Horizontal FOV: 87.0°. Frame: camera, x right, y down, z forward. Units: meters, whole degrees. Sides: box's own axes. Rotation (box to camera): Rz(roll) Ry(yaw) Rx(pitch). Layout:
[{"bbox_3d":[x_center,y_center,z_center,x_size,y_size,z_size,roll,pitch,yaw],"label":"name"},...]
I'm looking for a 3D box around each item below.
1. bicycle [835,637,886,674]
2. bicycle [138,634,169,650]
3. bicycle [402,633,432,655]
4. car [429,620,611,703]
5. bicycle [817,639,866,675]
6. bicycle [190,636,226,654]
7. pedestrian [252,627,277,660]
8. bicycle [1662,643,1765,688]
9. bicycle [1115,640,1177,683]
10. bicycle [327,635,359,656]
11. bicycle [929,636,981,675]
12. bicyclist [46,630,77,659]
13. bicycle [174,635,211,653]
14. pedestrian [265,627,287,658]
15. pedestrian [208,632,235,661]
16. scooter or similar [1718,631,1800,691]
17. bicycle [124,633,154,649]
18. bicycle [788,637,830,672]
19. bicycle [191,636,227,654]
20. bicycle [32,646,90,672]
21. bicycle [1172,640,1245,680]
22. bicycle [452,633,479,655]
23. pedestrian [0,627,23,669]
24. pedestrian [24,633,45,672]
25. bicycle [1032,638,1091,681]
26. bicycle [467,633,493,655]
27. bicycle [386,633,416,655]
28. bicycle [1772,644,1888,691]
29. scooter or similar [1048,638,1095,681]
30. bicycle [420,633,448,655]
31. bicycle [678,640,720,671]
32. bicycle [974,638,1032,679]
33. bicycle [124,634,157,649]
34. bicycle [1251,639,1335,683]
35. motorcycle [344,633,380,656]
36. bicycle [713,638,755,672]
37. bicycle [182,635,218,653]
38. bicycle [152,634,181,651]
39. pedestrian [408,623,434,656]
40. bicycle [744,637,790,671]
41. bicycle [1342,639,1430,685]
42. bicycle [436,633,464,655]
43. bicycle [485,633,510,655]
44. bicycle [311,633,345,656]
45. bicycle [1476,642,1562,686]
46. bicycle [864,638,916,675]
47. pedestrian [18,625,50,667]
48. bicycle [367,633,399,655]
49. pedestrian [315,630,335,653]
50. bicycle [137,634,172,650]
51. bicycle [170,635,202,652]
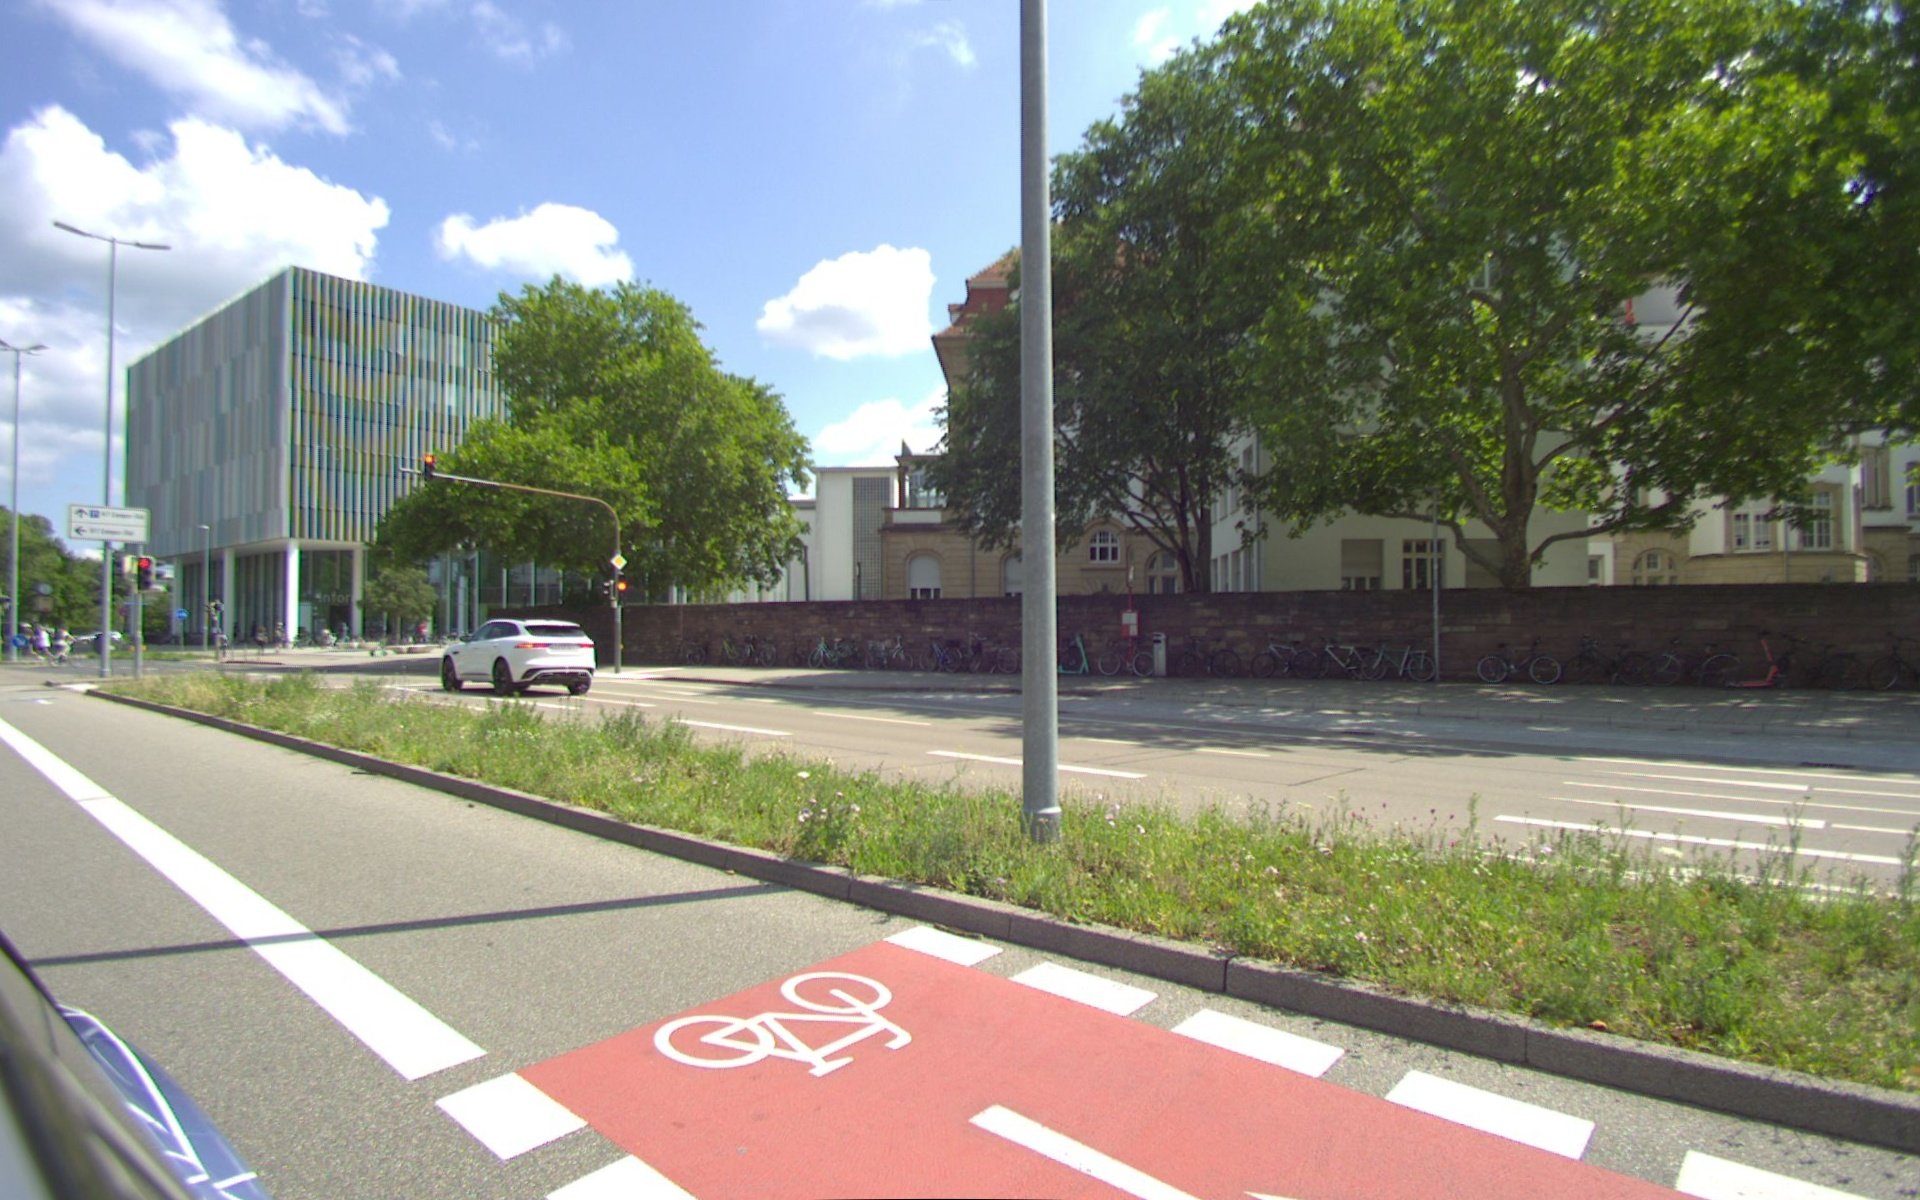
[{"bbox_3d":[-3.158,1.773,32.202,1.576,1.161,0.401,-1,-2,9],"label":"bicycle"},{"bbox_3d":[-78.150,4.046,98.062,0.621,1.506,2.299,-2,-2,41],"label":"bicycle"},{"bbox_3d":[-40.115,3.235,74.818,0.983,1.564,3.423,0,-2,-12],"label":"bicycle"},{"bbox_3d":[-10.071,1.332,22.976,4.775,1.680,2.048,-2,-3,43],"label":"car"},{"bbox_3d":[-3.849,1.845,32.877,1.581,1.161,0.400,-1,-2,19],"label":"bicycle"},{"bbox_3d":[-64.404,3.841,86.662,0.621,1.506,2.419,-2,-2,41],"label":"bicycle"},{"bbox_3d":[-41.789,2.613,60.807,0.956,1.940,0.881,0,-2,-11],"label":"pedestrian"},{"bbox_3d":[15.824,1.362,21.302,1.658,0.909,0.540,-1,-2,30],"label":"bicycle"},{"bbox_3d":[5.017,1.651,27.330,1.587,1.151,0.429,-1,-2,30],"label":"bicycle"},{"bbox_3d":[-45.413,3.344,74.521,0.919,1.505,2.690,0,-1,-4],"label":"bicycle"},{"bbox_3d":[-0.163,1.658,30.489,1.588,1.161,0.398,-2,-2,30],"label":"bicycle"},{"bbox_3d":[-37.759,1.862,42.529,0.609,1.235,0.835,0,-2,-6],"label":"bicyclist"},{"bbox_3d":[-67.370,3.879,88.865,0.621,1.506,2.478,-2,-2,41],"label":"bicycle"},{"bbox_3d":[-42.761,2.661,63.242,0.955,1.940,0.882,0,-2,-22],"label":"pedestrian"},{"bbox_3d":[-42.812,2.695,58.658,0.875,1.641,0.962,-1,-2,29],"label":"pedestrian"},{"bbox_3d":[16.098,1.225,20.402,1.184,1.192,0.430,-1,-2,21],"label":"scooter or similar"},{"bbox_3d":[-81.828,4.096,100.855,0.656,1.506,2.272,-2,-2,41],"label":"bicycle"},{"bbox_3d":[-5.080,1.829,33.953,1.591,1.161,0.408,-2,-2,36],"label":"bicycle"},{"bbox_3d":[-64.976,3.857,87.539,2.473,1.506,0.731,1,-2,-39],"label":"bicycle"},{"bbox_3d":[-37.767,2.474,42.538,0.637,1.006,2.165,0,-2,-4],"label":"bicycle"},{"bbox_3d":[6.489,1.559,26.435,1.796,1.016,0.476,-2,-2,33],"label":"bicycle"},{"bbox_3d":[-36.456,3.248,74.671,0.983,1.564,3.423,0,-2,-12],"label":"bicycle"},{"bbox_3d":[-44.851,2.238,47.617,1.093,1.940,0.973,1,-2,-44],"label":"pedestrian"},{"bbox_3d":[-44.027,2.487,48.148,0.689,1.840,0.637,-2,-3,41],"label":"pedestrian"},{"bbox_3d":[2.858,1.663,28.464,1.582,1.161,0.530,-1,-2,20],"label":"bicycle"},{"bbox_3d":[-35.346,3.251,74.616,0.983,1.564,3.423,0,-2,-12],"label":"bicycle"},{"bbox_3d":[-41.277,3.231,74.816,0.983,1.564,3.423,0,-2,-12],"label":"bicycle"},{"bbox_3d":[17.511,1.345,20.415,1.658,0.909,0.540,-1,-2,30],"label":"bicycle"},{"bbox_3d":[3.050,1.614,27.681,1.184,1.161,0.430,-1,-2,21],"label":"scooter or similar"},{"bbox_3d":[-38.891,3.243,74.828,0.983,1.564,3.423,0,-2,-12],"label":"bicycle"},{"bbox_3d":[-9.510,2.004,36.790,1.589,1.107,0.567,-2,-2,33],"label":"bicycle"},{"bbox_3d":[1.241,1.693,29.250,1.582,1.161,0.530,-1,-2,20],"label":"bicycle"},{"bbox_3d":[-80.922,4.078,99.937,0.621,1.506,2.478,-2,-2,41],"label":"bicycle"},{"bbox_3d":[8.319,1.512,25.317,1.942,1.055,0.540,-1,-2,30],"label":"bicycle"},{"bbox_3d":[-44.077,3.244,74.622,0.957,1.652,3.301,0,-2,-5],"label":"motorcycle"},{"bbox_3d":[-7.998,1.935,35.804,1.589,1.161,0.495,-2,-2,33],"label":"bicycle"},{"bbox_3d":[-67.568,3.904,90.013,0.621,1.506,2.478,-2,-2,41],"label":"bicycle"},{"bbox_3d":[-74.513,3.991,95.017,0.621,1.506,2.044,-2,-2,41],"label":"bicycle"},{"bbox_3d":[-32.883,2.394,61.758,0.972,1.940,1.094,-2,-2,42],"label":"pedestrian"},{"bbox_3d":[-6.626,1.844,34.779,1.589,1.161,0.616,-2,-2,33],"label":"bicycle"},{"bbox_3d":[10.157,1.468,24.151,1.888,1.055,0.540,-1,-2,30],"label":"bicycle"},{"bbox_3d":[-37.567,3.241,74.552,0.983,1.564,3.423,0,-2,-12],"label":"bicycle"},{"bbox_3d":[-34.288,3.236,75.046,0.983,1.564,3.423,0,-2,-12],"label":"bicycle"},{"bbox_3d":[-46.457,3.255,74.432,0.798,1.656,3.420,0,-2,-8],"label":"bicycle"},{"bbox_3d":[12.529,1.430,22.726,1.658,0.956,0.540,-1,-2,30],"label":"bicycle"},{"bbox_3d":[-2.193,1.763,31.594,1.576,1.161,0.401,-1,-2,9],"label":"bicycle"},{"bbox_3d":[-43.414,2.152,47.452,1.092,1.940,0.973,1,-2,-43],"label":"pedestrian"},{"bbox_3d":[-42.634,3.225,74.827,1.034,1.564,3.423,0,-2,-12],"label":"bicycle"},{"bbox_3d":[-49.225,3.215,78.490,0.997,1.720,1.213,0,-2,-15],"label":"pedestrian"},{"bbox_3d":[-76.709,4.014,96.393,0.621,1.506,2.478,-2,-2,41],"label":"bicycle"},{"bbox_3d":[-69.602,3.919,91.016,0.621,1.506,2.171,-2,-2,41],"label":"bicycle"}]
